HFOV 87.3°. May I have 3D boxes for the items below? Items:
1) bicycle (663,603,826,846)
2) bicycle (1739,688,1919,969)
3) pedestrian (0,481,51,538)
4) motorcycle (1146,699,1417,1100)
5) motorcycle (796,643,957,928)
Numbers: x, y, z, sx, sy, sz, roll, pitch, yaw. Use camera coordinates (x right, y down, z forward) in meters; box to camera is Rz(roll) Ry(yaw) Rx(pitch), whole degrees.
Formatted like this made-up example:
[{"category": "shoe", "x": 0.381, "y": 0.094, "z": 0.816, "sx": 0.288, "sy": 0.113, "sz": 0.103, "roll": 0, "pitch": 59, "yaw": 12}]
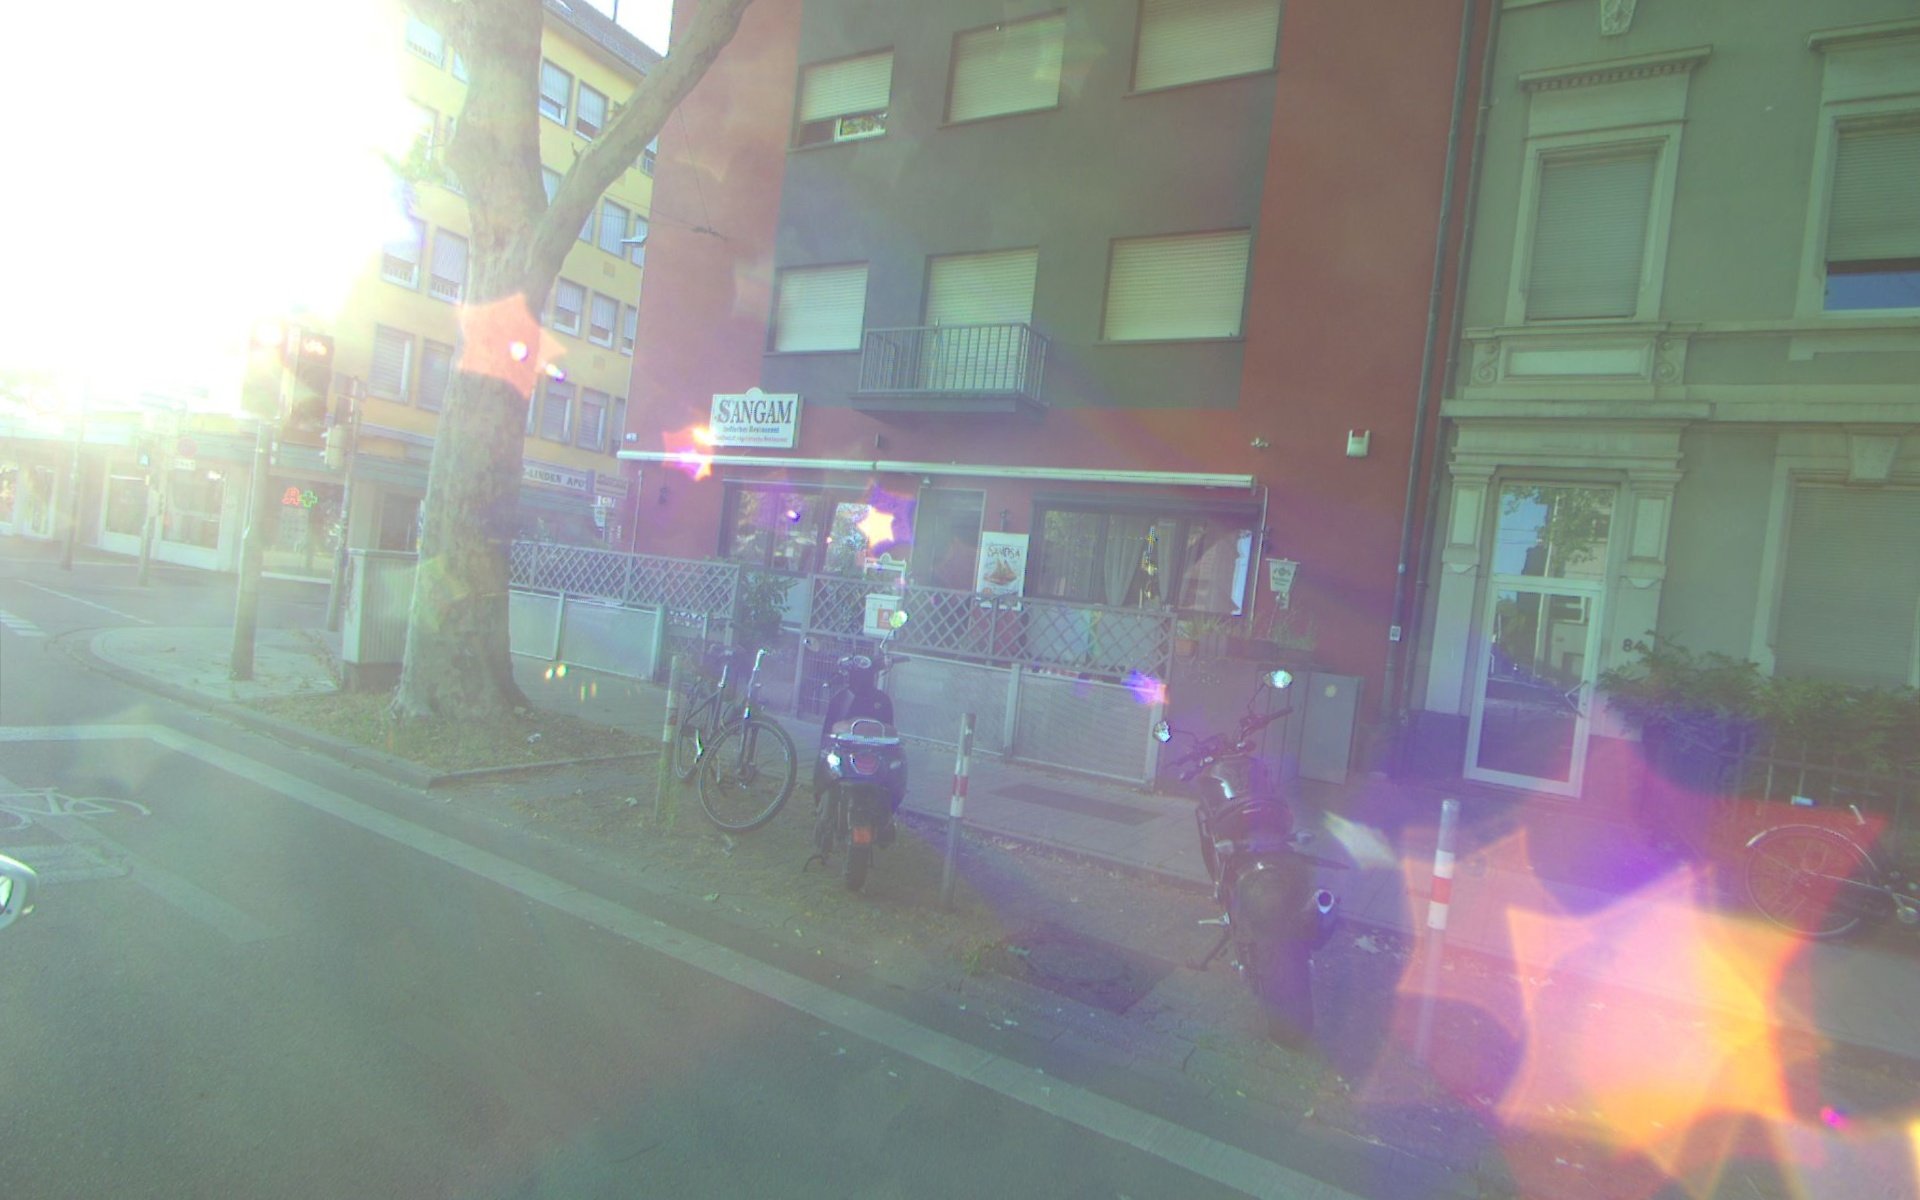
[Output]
[{"category": "bicycle", "x": -1.493, "y": 0.739, "z": 6.676, "sx": 0.686, "sy": 1.219, "sz": 1.837, "roll": 8, "pitch": 2, "yaw": -20}, {"category": "bicycle", "x": 5.864, "y": 1.371, "z": 5.502, "sx": 2.356, "sy": 1.443, "sz": 0.608, "roll": 6, "pitch": -1, "yaw": 32}, {"category": "pedestrian", "x": -36.937, "y": -3.559, "z": 39.761, "sx": 0.912, "sy": 2.039, "sz": 0.990, "roll": 6, "pitch": 1, "yaw": -6}, {"category": "motorcycle", "x": 1.316, "y": 1.149, "z": 4.616, "sx": 0.752, "sy": 1.077, "sz": 2.212, "roll": 7, "pitch": 2, "yaw": 9}, {"category": "motorcycle", "x": -0.543, "y": 0.912, "z": 5.650, "sx": 0.591, "sy": 1.166, "sz": 1.994, "roll": 6, "pitch": 0, "yaw": -10}]
